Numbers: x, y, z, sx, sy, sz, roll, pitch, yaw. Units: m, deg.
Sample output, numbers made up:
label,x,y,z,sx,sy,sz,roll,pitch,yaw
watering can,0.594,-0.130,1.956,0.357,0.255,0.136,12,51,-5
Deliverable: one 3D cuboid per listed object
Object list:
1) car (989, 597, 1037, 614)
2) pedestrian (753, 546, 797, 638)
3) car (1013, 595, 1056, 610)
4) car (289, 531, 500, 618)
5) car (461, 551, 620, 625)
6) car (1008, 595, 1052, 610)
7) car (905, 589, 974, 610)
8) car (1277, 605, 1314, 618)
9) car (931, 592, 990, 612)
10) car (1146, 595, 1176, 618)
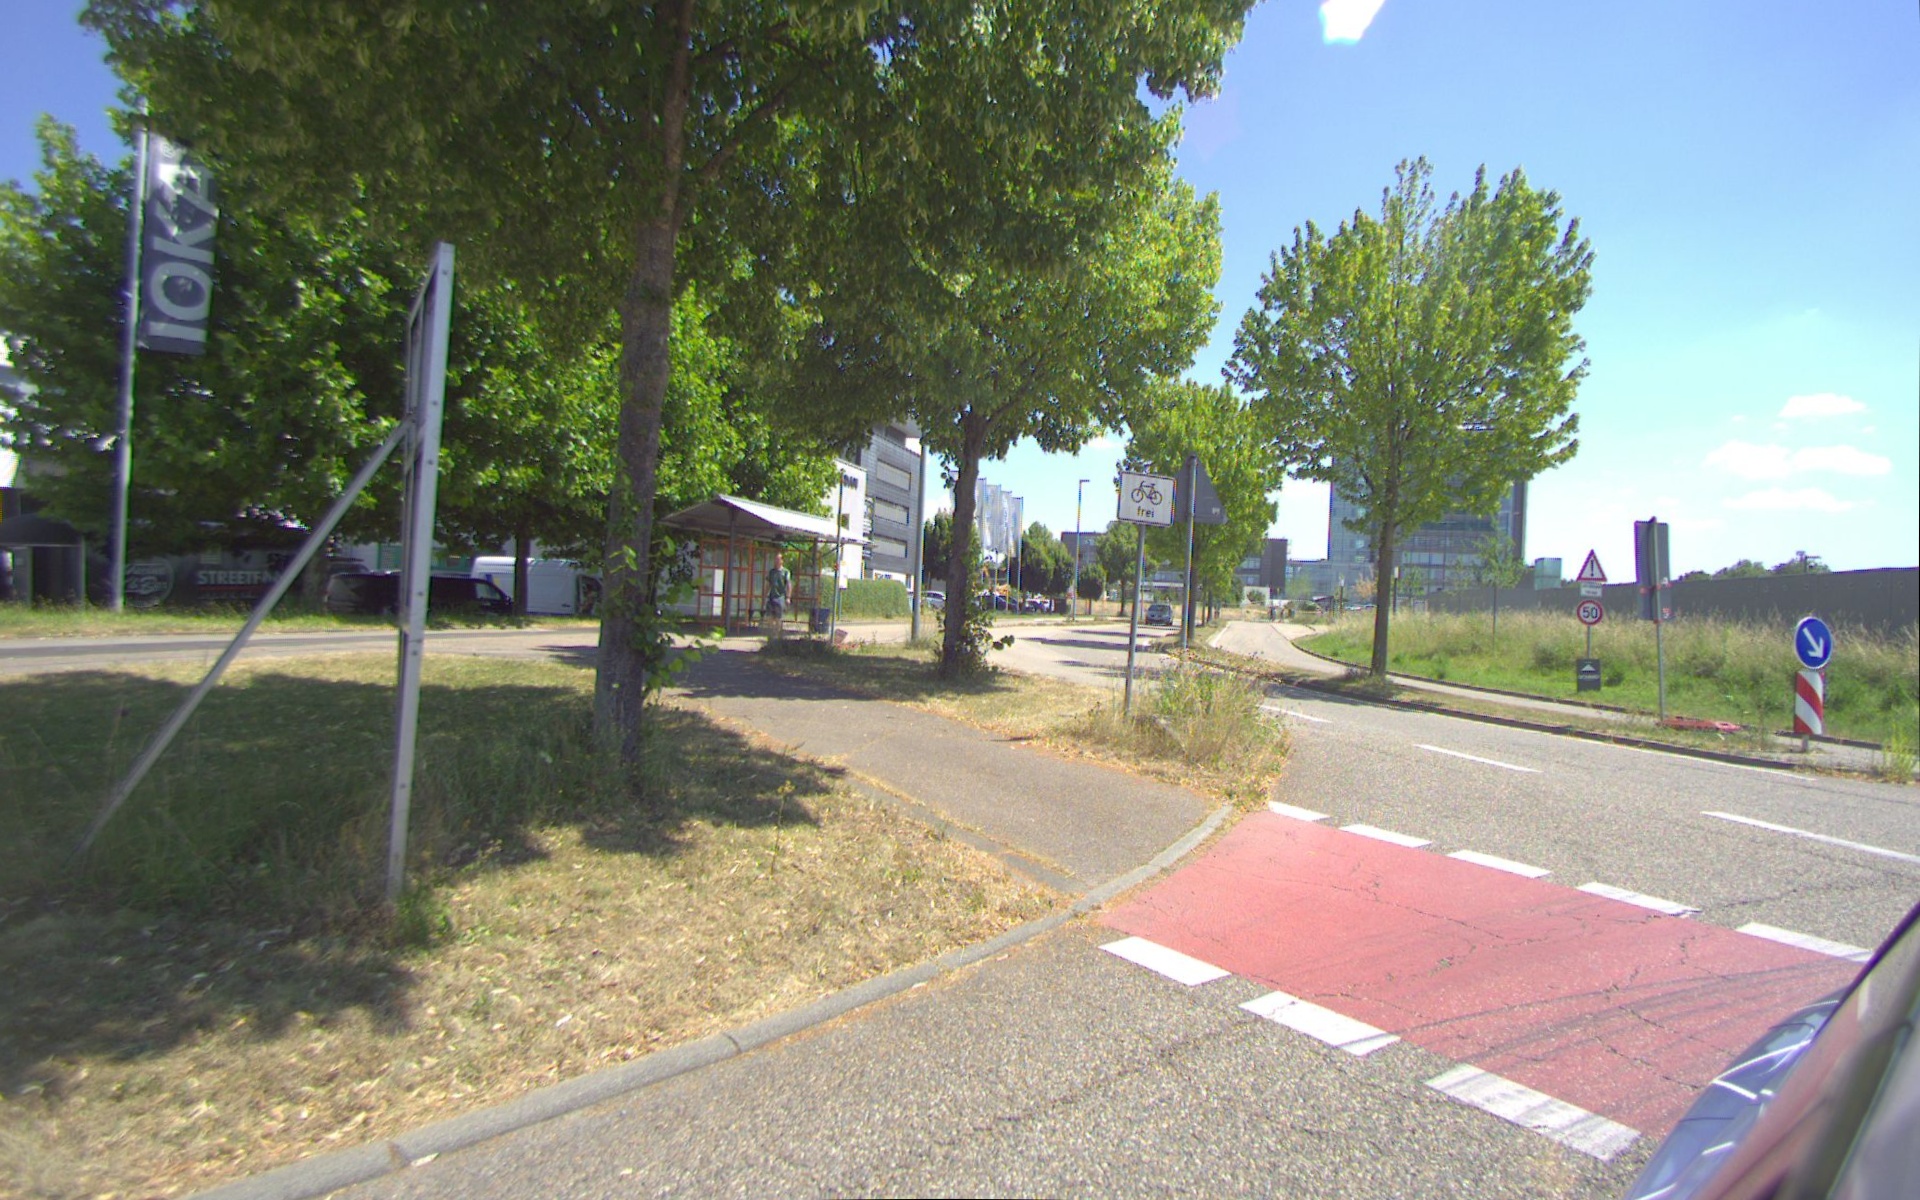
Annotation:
label,x,y,z,sx,sy,sz,roll,pitch,yaw
car,4.563,0.479,86.738,3.837,1.290,1.697,2,1,16
pedestrian,-3.518,-0.145,19.226,0.577,1.692,0.522,-1,-4,44
car,7.146,0.197,96.843,3.837,1.290,1.697,2,1,16
car,-12.593,-0.562,22.846,1.816,1.749,3.977,2,1,18
car,-12.742,-0.351,30.851,4.191,2.040,1.546,2,-3,6
car,6.590,0.216,94.782,3.837,1.290,1.697,2,1,16
car,-1.335,-0.009,66.200,4.216,1.198,1.486,1,-3,16
car,37.061,1.249,111.868,3.790,1.290,1.602,2,1,16
car,0.029,0.129,71.340,3.837,1.197,1.697,2,1,16
car,14.760,0.496,74.061,1.658,1.524,3.549,1,-3,19
